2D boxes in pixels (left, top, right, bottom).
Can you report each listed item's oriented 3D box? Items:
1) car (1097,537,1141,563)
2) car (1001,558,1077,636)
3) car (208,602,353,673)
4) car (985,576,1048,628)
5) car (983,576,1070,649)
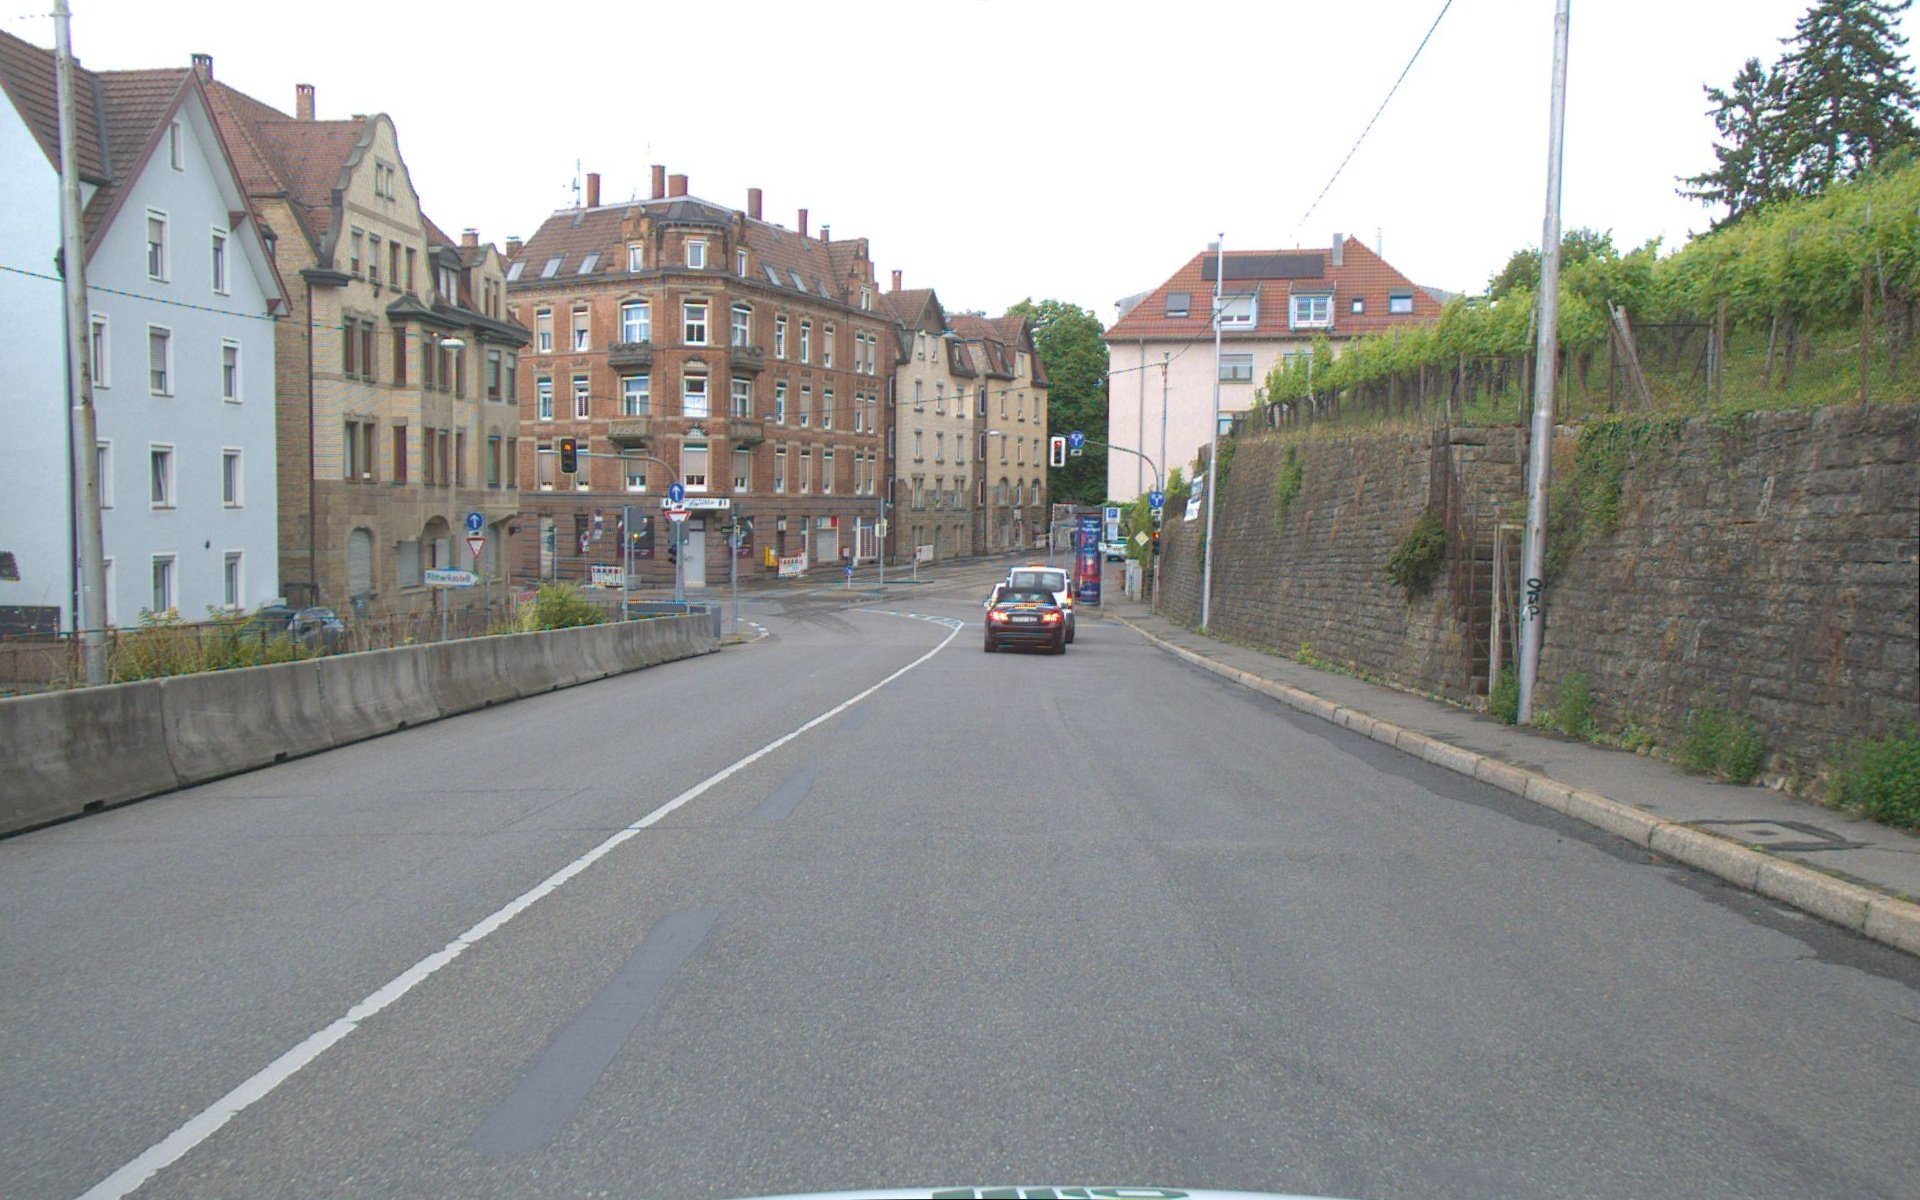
[{"bbox_3d":[10.905,-3.463,113.198,1.804,1.731,3.999,1,2,23],"label":"car"},{"bbox_3d":[2.052,-0.105,43.771,1.870,1.916,4.001,2,1,2],"label":"car"},{"bbox_3d":[-17.304,0.907,42.339,1.756,1.536,4.004,-1,2,5],"label":"car"},{"bbox_3d":[1.729,0.034,50.589,1.803,1.466,4.001,2,1,2],"label":"car"},{"bbox_3d":[1.462,0.237,36.739,1.779,1.455,4.001,2,1,2],"label":"car"}]
